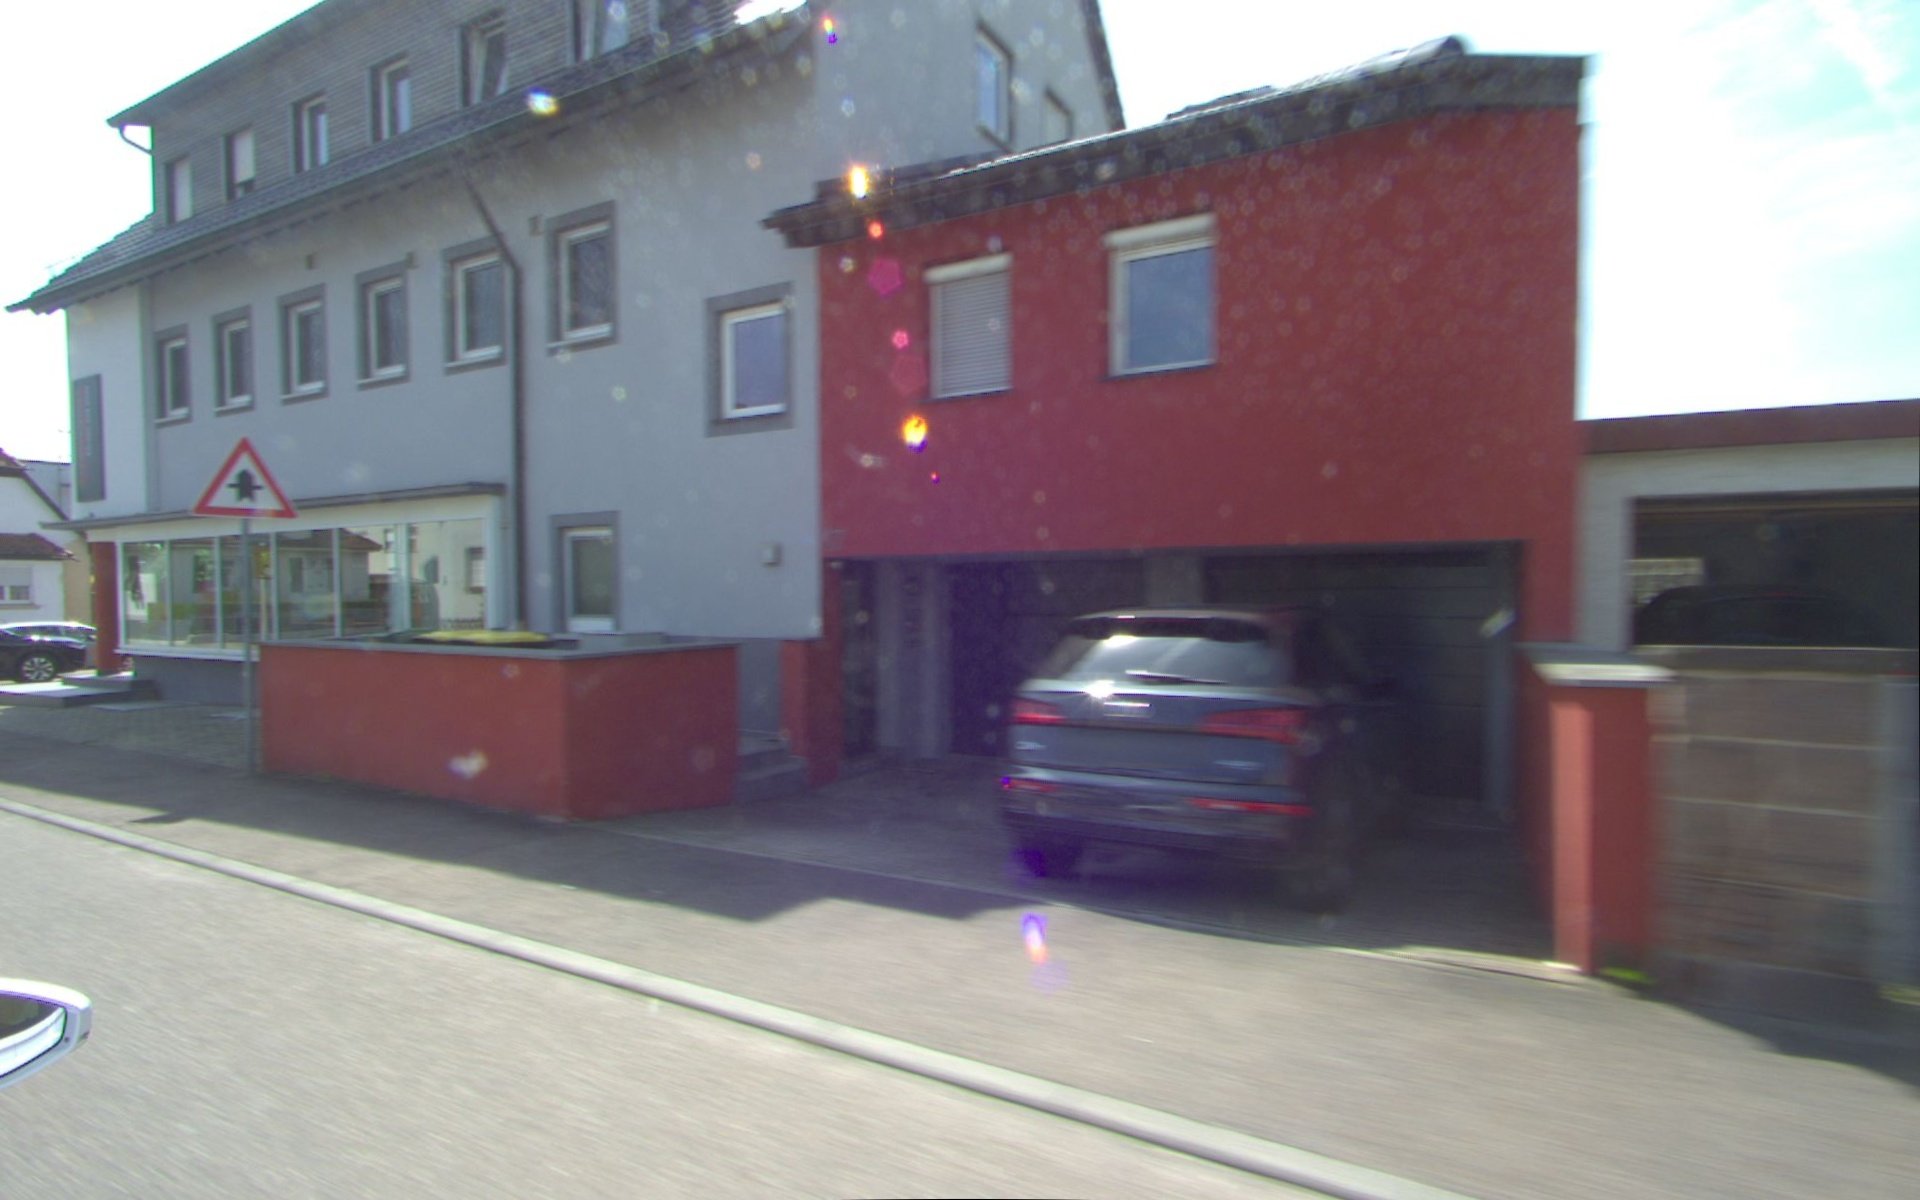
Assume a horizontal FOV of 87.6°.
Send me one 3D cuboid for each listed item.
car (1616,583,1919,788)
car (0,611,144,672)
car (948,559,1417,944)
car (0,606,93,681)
[{"bbox_3d":[7.322,0.589,9.346,1.762,1.485,3.947,1,1,30],"label":"car"},{"bbox_3d":[-24.363,1.065,26.532,1.671,1.524,3.976,0,0,34],"label":"car"},{"bbox_3d":[1.851,0.887,6.780,1.849,1.688,4.368,0,-6,30],"label":"car"},{"bbox_3d":[-22.452,0.977,22.453,1.824,1.675,4.279,0,0,37],"label":"car"}]
